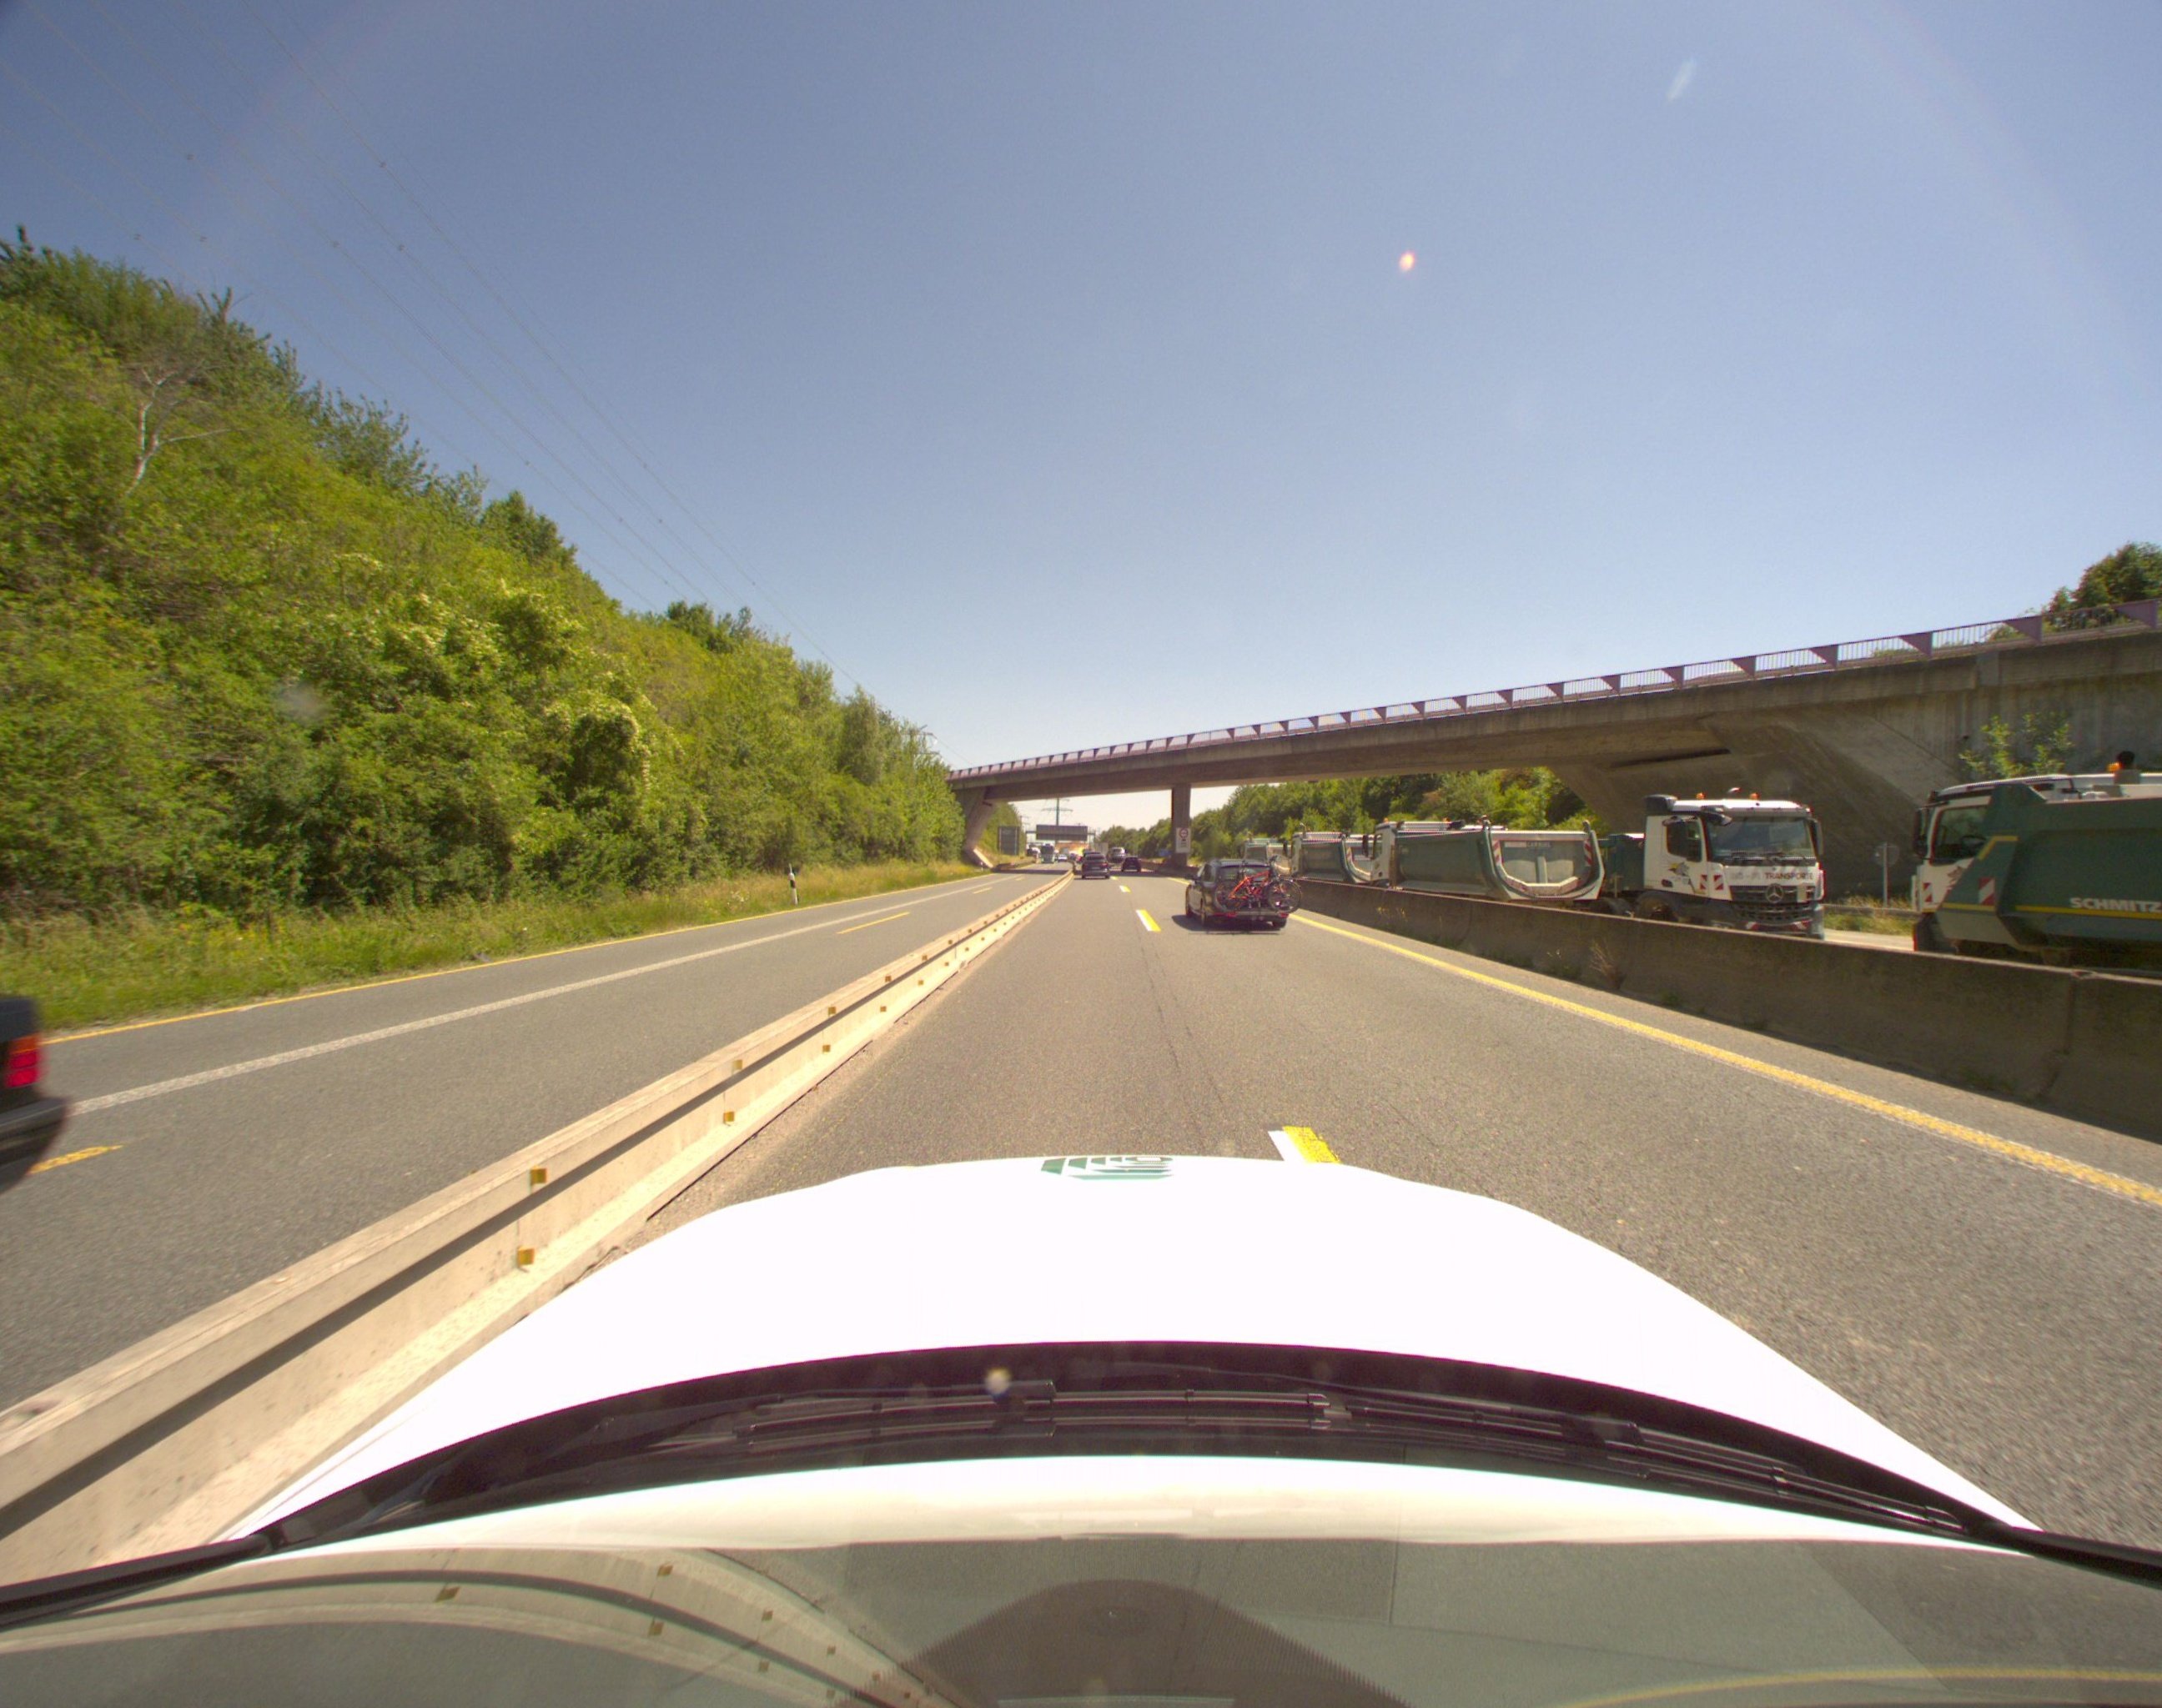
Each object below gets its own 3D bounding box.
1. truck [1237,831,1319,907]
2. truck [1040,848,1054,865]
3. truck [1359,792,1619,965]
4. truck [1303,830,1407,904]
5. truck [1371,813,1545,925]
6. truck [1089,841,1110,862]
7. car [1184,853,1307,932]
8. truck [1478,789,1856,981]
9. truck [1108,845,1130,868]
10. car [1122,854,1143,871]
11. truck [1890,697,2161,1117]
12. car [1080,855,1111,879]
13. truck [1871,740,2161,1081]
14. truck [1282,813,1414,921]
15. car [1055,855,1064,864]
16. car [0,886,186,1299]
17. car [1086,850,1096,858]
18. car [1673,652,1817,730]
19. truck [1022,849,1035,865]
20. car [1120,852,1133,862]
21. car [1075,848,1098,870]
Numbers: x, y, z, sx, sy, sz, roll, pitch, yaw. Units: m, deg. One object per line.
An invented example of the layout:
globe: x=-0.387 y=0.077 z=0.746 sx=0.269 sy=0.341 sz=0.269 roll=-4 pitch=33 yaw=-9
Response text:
truck: x=10.946 y=0.776 z=46.267 sx=2.677 sy=3.843 sz=9.328 roll=0 pitch=0 yaw=2
truck: x=-6.629 y=0.416 z=157.542 sx=2.502 sy=3.186 sz=10.099 roll=0 pitch=0 yaw=-3
truck: x=10.455 y=0.536 z=22.346 sx=2.677 sy=3.761 sz=9.328 roll=0 pitch=0 yaw=2
truck: x=14.456 y=0.631 z=43.891 sx=2.677 sy=3.557 sz=9.327 roll=0 pitch=0 yaw=1
truck: x=14.207 y=0.521 z=31.786 sx=2.677 sy=3.727 sz=9.327 roll=0 pitch=0 yaw=1
truck: x=3.429 y=-0.472 z=152.139 sx=3.285 sy=3.845 sz=10.099 roll=0 pitch=0 yaw=-3
car: x=3.414 y=0.750 z=17.842 sx=1.892 sy=1.490 sz=4.950 roll=0 pitch=-1 yaw=2
truck: x=13.161 y=0.586 z=19.807 sx=2.677 sy=3.557 sz=9.327 roll=0 pitch=0 yaw=1
truck: x=4.380 y=0.221 z=95.059 sx=2.397 sy=2.558 sz=7.502 roll=0 pitch=0 yaw=1
car: x=4.811 y=0.772 z=76.126 sx=1.891 sy=1.585 sz=4.279 roll=0 pitch=0 yaw=3
truck: x=10.449 y=0.443 z=4.595 sx=2.677 sy=3.557 sz=9.327 roll=0 pitch=0 yaw=1
car: x=0.978 y=0.823 z=53.854 sx=1.891 sy=1.505 sz=4.279 roll=0 pitch=0 yaw=3
truck: x=13.217 y=0.616 z=7.684 sx=2.677 sy=3.761 sz=9.328 roll=0 pitch=0 yaw=2
truck: x=10.722 y=0.479 z=33.834 sx=2.677 sy=3.856 sz=9.328 roll=0 pitch=0 yaw=2
car: x=-4.494 y=1.118 z=170.236 sx=1.758 sy=1.838 sz=3.996 roll=0 pitch=-1 yaw=-3
car: x=-4.574 y=0.812 z=1.312 sx=1.667 sy=1.393 sz=4.072 roll=0 pitch=-1 yaw=1
car: x=2.266 y=0.000 z=188.177 sx=1.896 sy=1.968 sz=4.270 roll=0 pitch=0 yaw=-4
car: x=30.642 y=-7.437 z=37.715 sx=2.269 sy=2.540 sz=4.729 roll=1 pitch=-1 yaw=-34
truck: x=-11.148 y=0.596 z=172.547 sx=2.502 sy=3.186 sz=10.099 roll=0 pitch=0 yaw=-3
car: x=7.516 y=0.515 z=134.206 sx=1.894 sy=1.585 sz=4.274 roll=0 pitch=0 yaw=-1
car: x=0.556 y=0.476 z=74.025 sx=1.891 sy=1.968 sz=4.279 roll=0 pitch=0 yaw=3
